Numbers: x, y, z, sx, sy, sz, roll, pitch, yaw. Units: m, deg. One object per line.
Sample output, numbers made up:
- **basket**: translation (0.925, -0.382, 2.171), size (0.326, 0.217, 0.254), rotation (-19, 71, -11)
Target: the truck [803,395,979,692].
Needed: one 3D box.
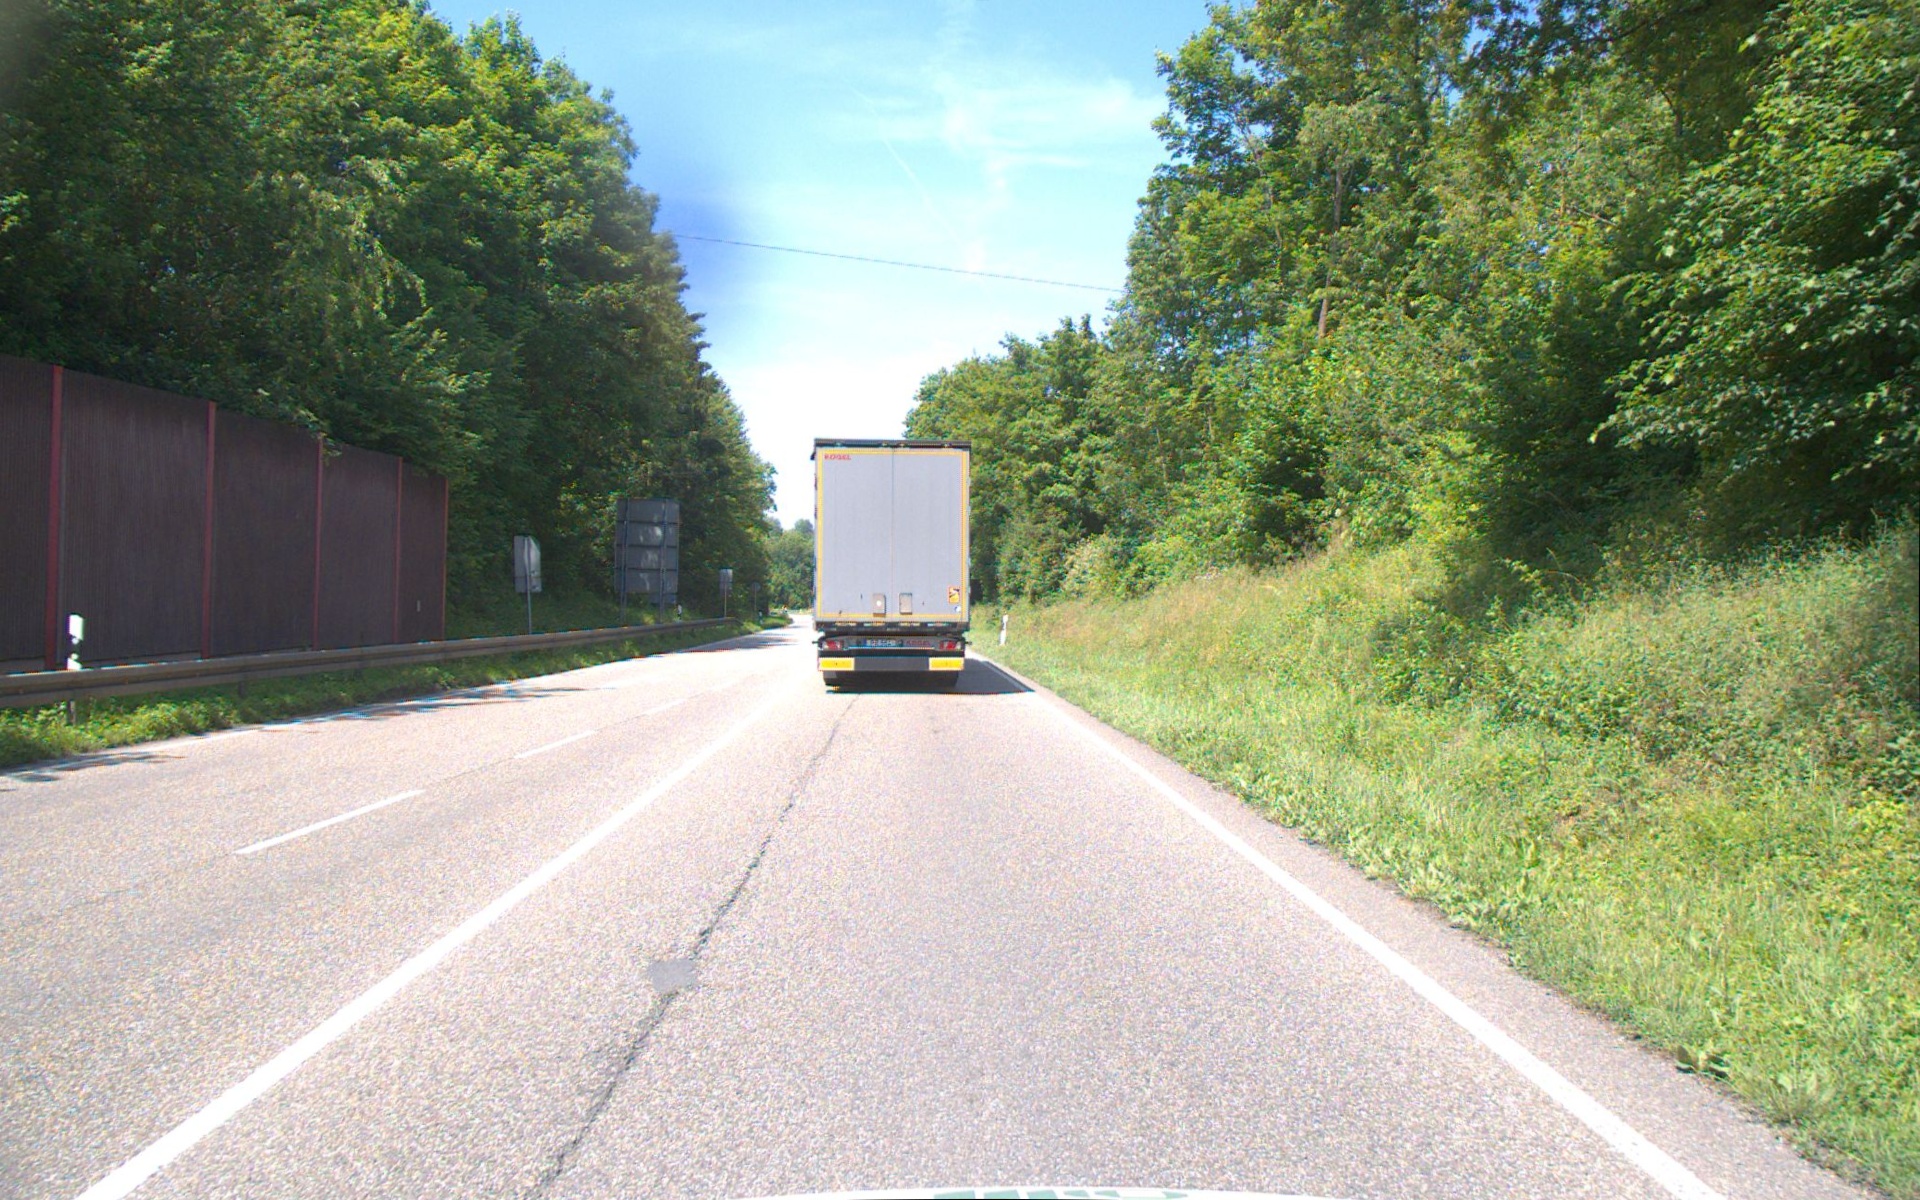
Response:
- **truck**: translation (-1.135, -0.962, 29.507), size (2.765, 4.684, 6.664), rotation (0, 1, -1)
